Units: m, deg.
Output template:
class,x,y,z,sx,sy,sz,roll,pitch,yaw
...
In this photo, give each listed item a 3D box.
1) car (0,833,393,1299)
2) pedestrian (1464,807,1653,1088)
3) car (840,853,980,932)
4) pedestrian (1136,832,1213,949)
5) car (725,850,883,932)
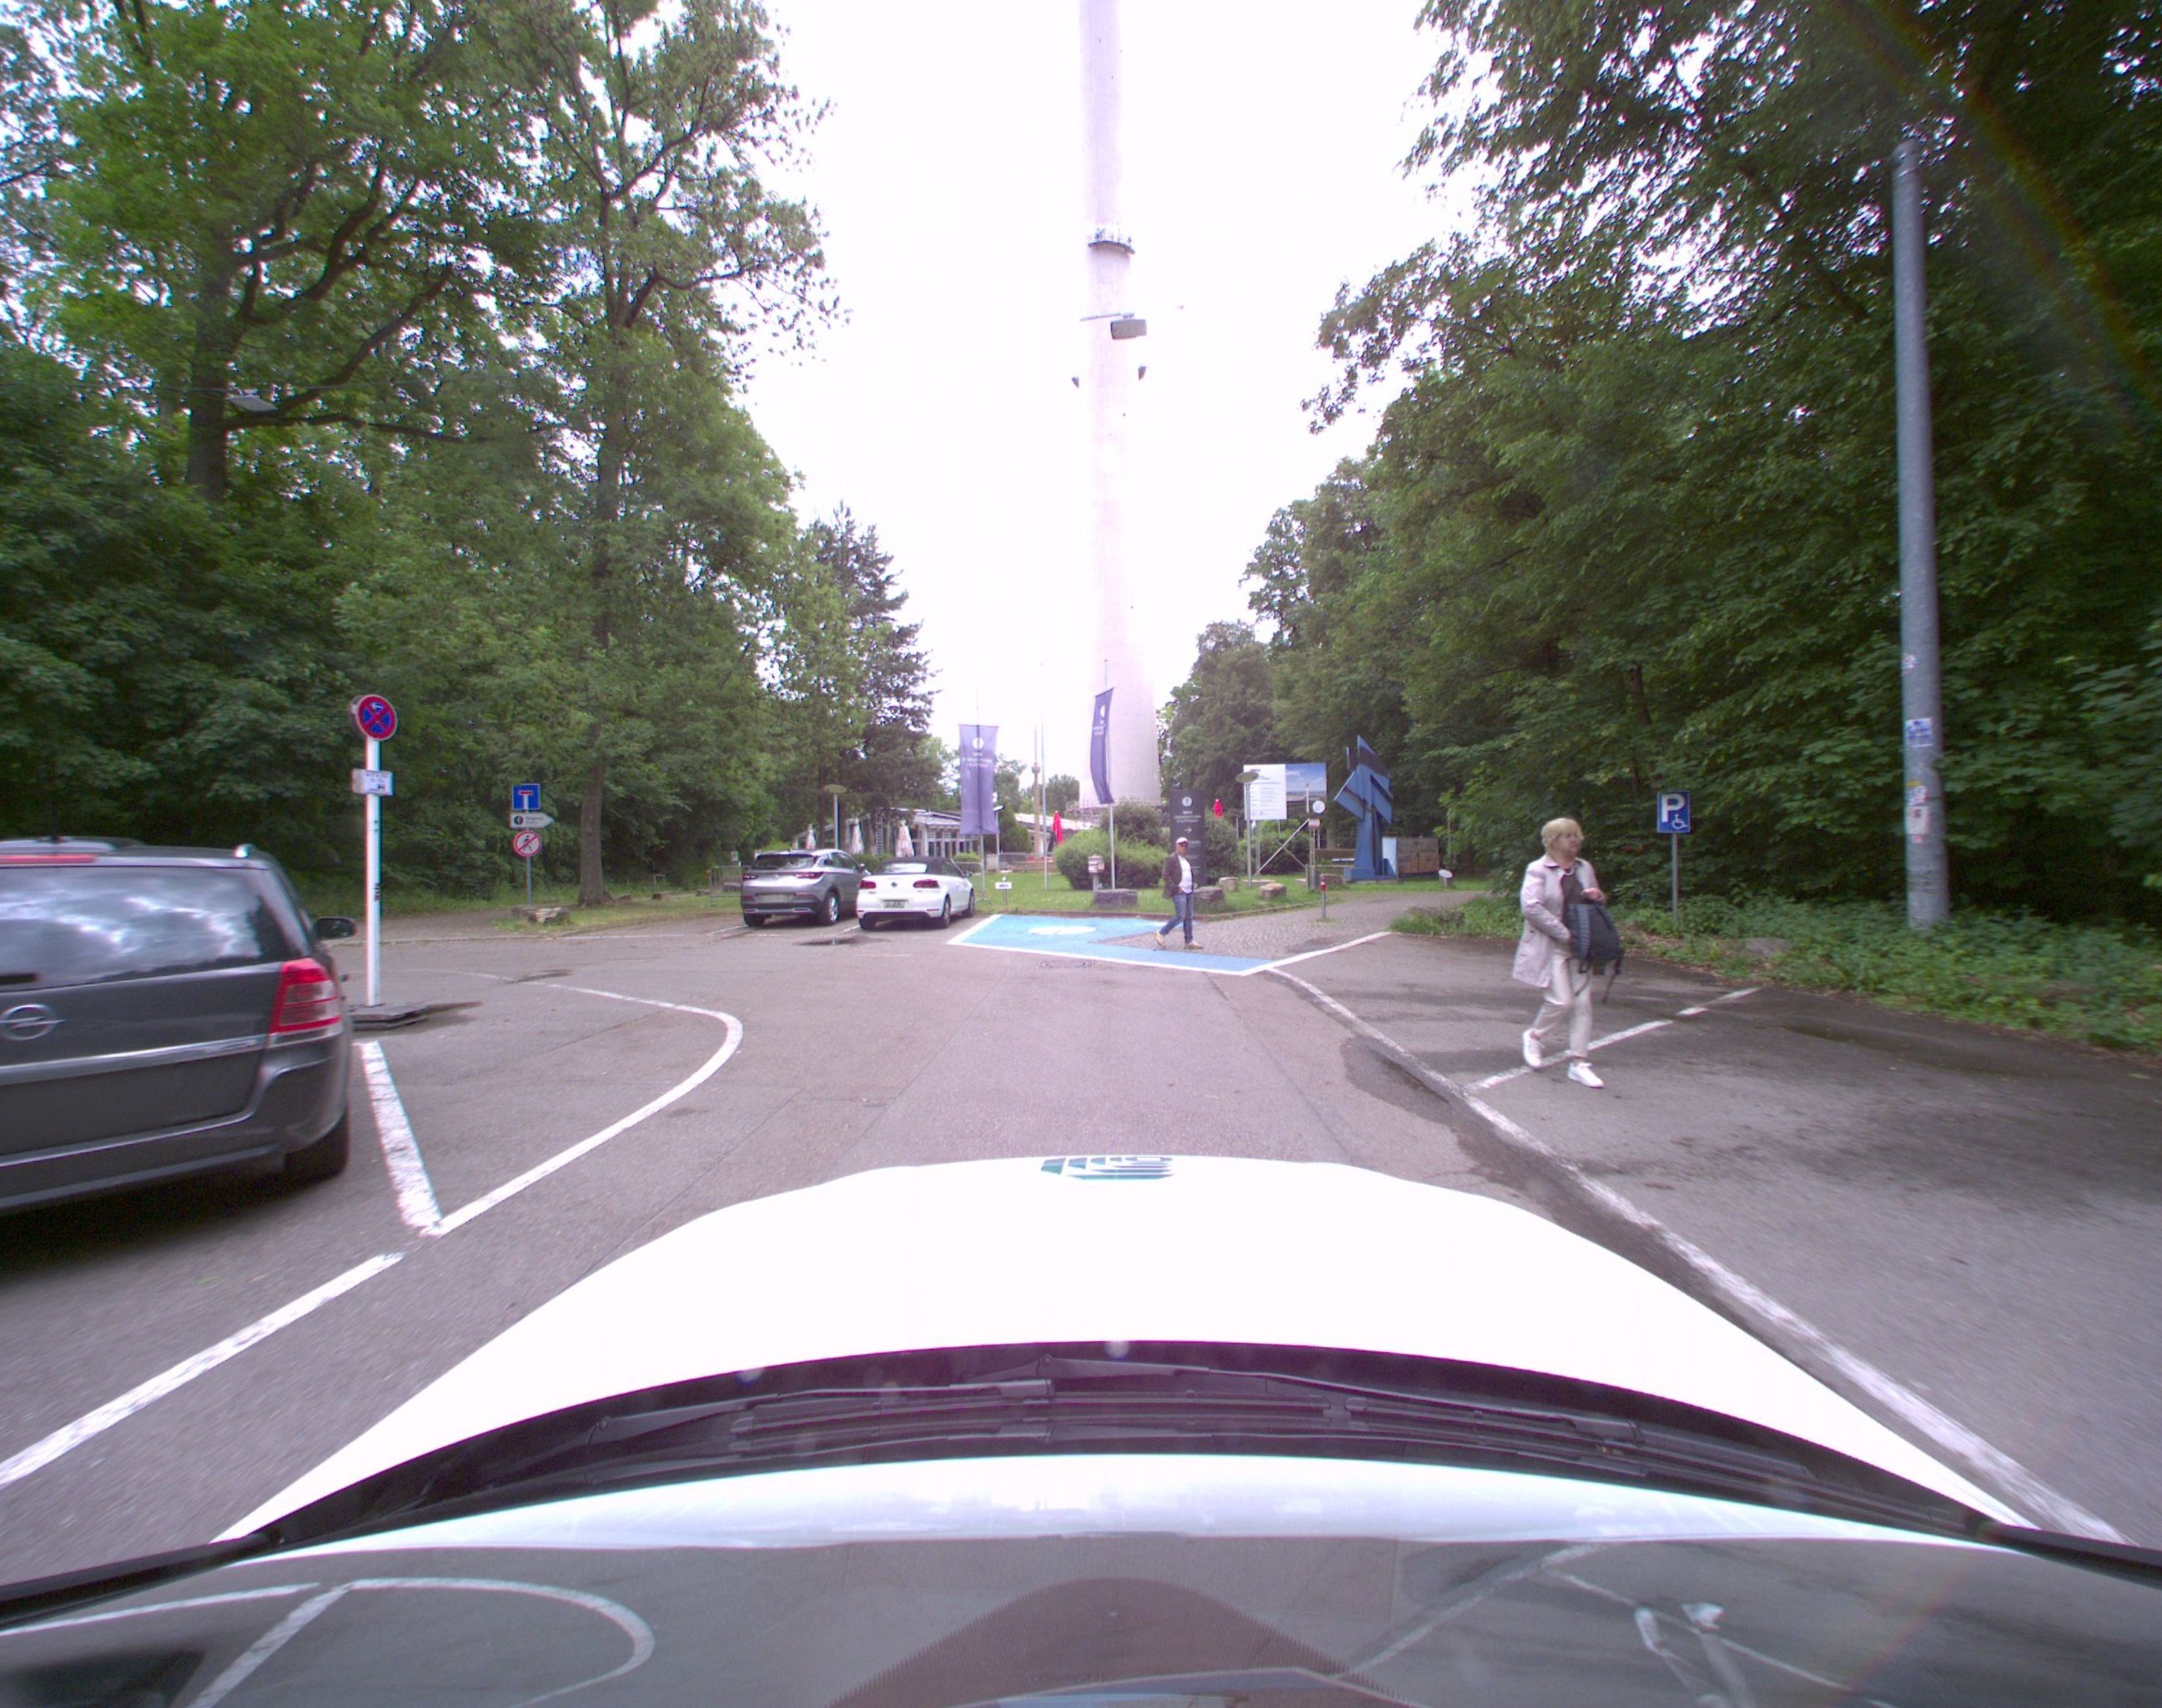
class,x,y,z,sx,sy,sz,roll,pitch,yaw
car,-5.164,0.748,4.452,1.840,1.608,4.334,-1,0,-44
pedestrian,3.152,0.575,5.467,0.758,1.725,0.898,-1,0,3
car,-3.467,0.732,17.308,1.885,1.428,4.004,-1,0,3
pedestrian,1.447,0.533,12.612,0.885,1.725,0.769,-1,0,42
car,-5.988,0.716,18.147,1.885,1.585,4.004,-1,0,4
